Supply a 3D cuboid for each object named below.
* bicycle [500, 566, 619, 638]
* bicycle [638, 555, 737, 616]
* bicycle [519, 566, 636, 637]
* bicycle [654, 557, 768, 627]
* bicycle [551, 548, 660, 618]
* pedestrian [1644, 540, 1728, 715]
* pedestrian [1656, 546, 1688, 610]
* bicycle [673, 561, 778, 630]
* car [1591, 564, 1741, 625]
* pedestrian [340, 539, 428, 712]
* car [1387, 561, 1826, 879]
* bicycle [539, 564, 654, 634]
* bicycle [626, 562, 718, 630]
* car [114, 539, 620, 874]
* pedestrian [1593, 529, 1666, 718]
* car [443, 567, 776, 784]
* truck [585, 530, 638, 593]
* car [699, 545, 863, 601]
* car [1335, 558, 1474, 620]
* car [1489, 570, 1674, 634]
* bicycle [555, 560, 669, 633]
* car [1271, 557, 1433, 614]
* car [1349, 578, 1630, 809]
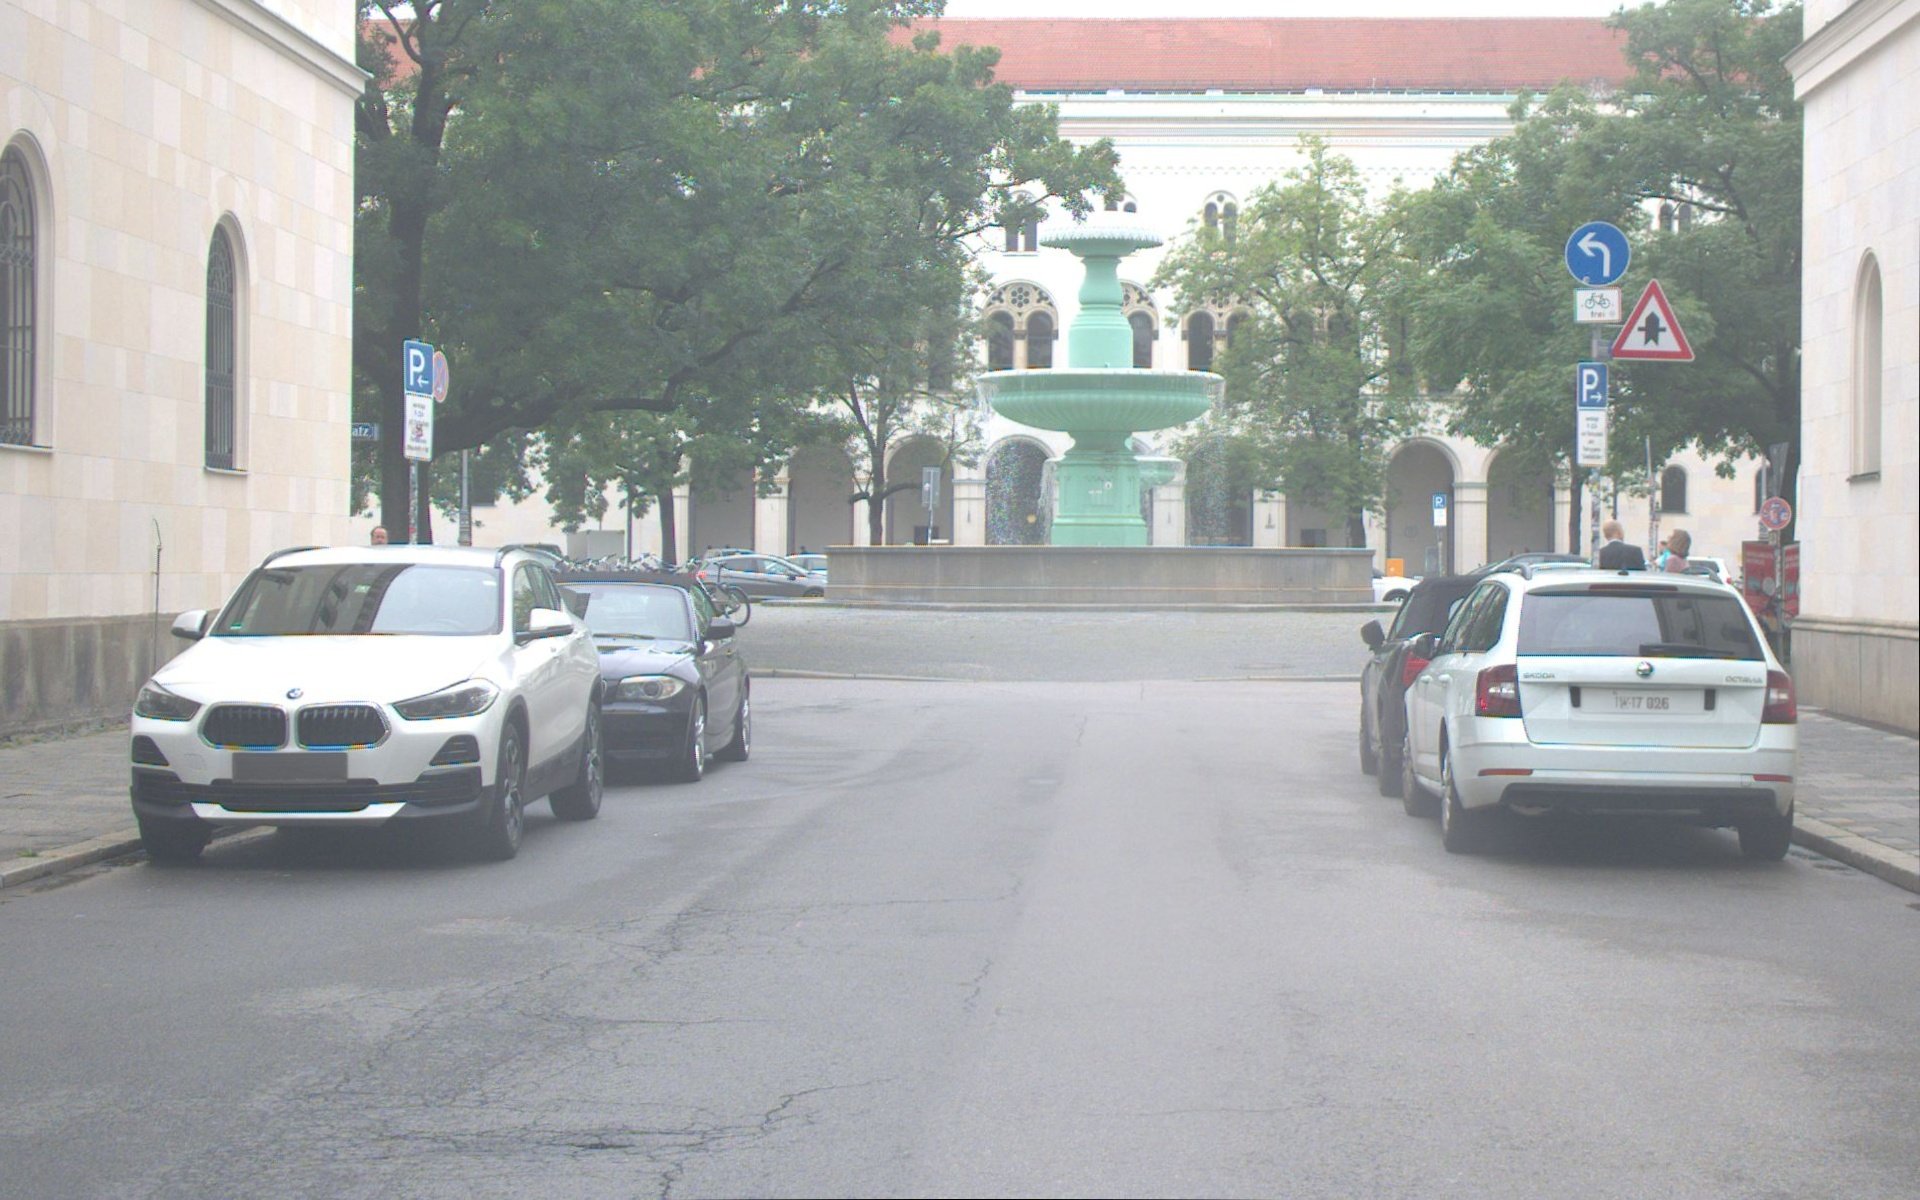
[{"bbox_3d":[-6.024,0.024,51.703,1.619,1.032,0.698,1,1,14],"label":"bicycle"},{"bbox_3d":[-4.682,-0.256,59.026,1.536,1.016,0.698,1,1,14],"label":"bicycle"},{"bbox_3d":[-5.828,0.011,52.428,1.619,1.032,0.698,1,1,14],"label":"bicycle"},{"bbox_3d":[-4.082,-0.135,56.343,1.711,1.095,0.698,1,1,14],"label":"bicycle"},{"bbox_3d":[-5.770,-0.289,55.999,1.619,1.095,0.698,1,1,14],"label":"bicycle"},{"bbox_3d":[7.086,0.262,33.568,0.620,1.676,0.546,2,1,-3],"label":"pedestrian"},{"bbox_3d":[16.284,-0.510,78.640,0.583,1.460,0.547,1,1,26],"label":"pedestrian"},{"bbox_3d":[-3.887,-0.073,57.038,1.619,1.095,0.616,1,1,14],"label":"bicycle"},{"bbox_3d":[21.207,-0.166,103.331,4.097,1.735,1.746,1,1,0],"label":"car"},{"bbox_3d":[-5.872,0.254,35.064,0.754,1.743,0.689,0,1,1],"label":"pedestrian"},{"bbox_3d":[3.350,0.547,18.562,1.789,1.471,4.312,1,1,4],"label":"car"},{"bbox_3d":[-5.623,-0.014,53.225,1.619,1.032,0.698,1,1,14],"label":"bicycle"},{"bbox_3d":[-4.880,-0.071,58.199,1.402,1.095,0.656,1,1,14],"label":"bicycle"},{"bbox_3d":[-2.958,0.487,18.041,1.778,1.529,4.211,-1,0,2],"label":"car"},{"bbox_3d":[6.437,0.220,33.075,0.642,1.802,0.489,1,1,9],"label":"pedestrian"},{"bbox_3d":[-2.395,0.485,24.457,1.698,1.388,4.211,-1,0,3],"label":"car"},{"bbox_3d":[-14.412,-1.607,142.109,1.993,2.480,4.001,1,1,-8],"label":"truck"},{"bbox_3d":[-4.507,-0.690,86.798,3.987,1.371,2.000,0,1,2],"label":"car"},{"bbox_3d":[13.422,-0.338,103.908,3.987,1.744,1.808,1,1,2],"label":"car"},{"bbox_3d":[15.400,0.051,85.362,4.358,1.519,1.803,0,1,5],"label":"car"},{"bbox_3d":[-5.461,-0.058,53.969,1.619,1.095,0.698,1,1,14],"label":"bicycle"},{"bbox_3d":[9.776,-0.375,85.956,3.988,1.398,1.824,0,1,6],"label":"car"},{"bbox_3d":[3.523,0.570,23.394,1.540,1.421,3.772,1,1,4],"label":"car"}]
